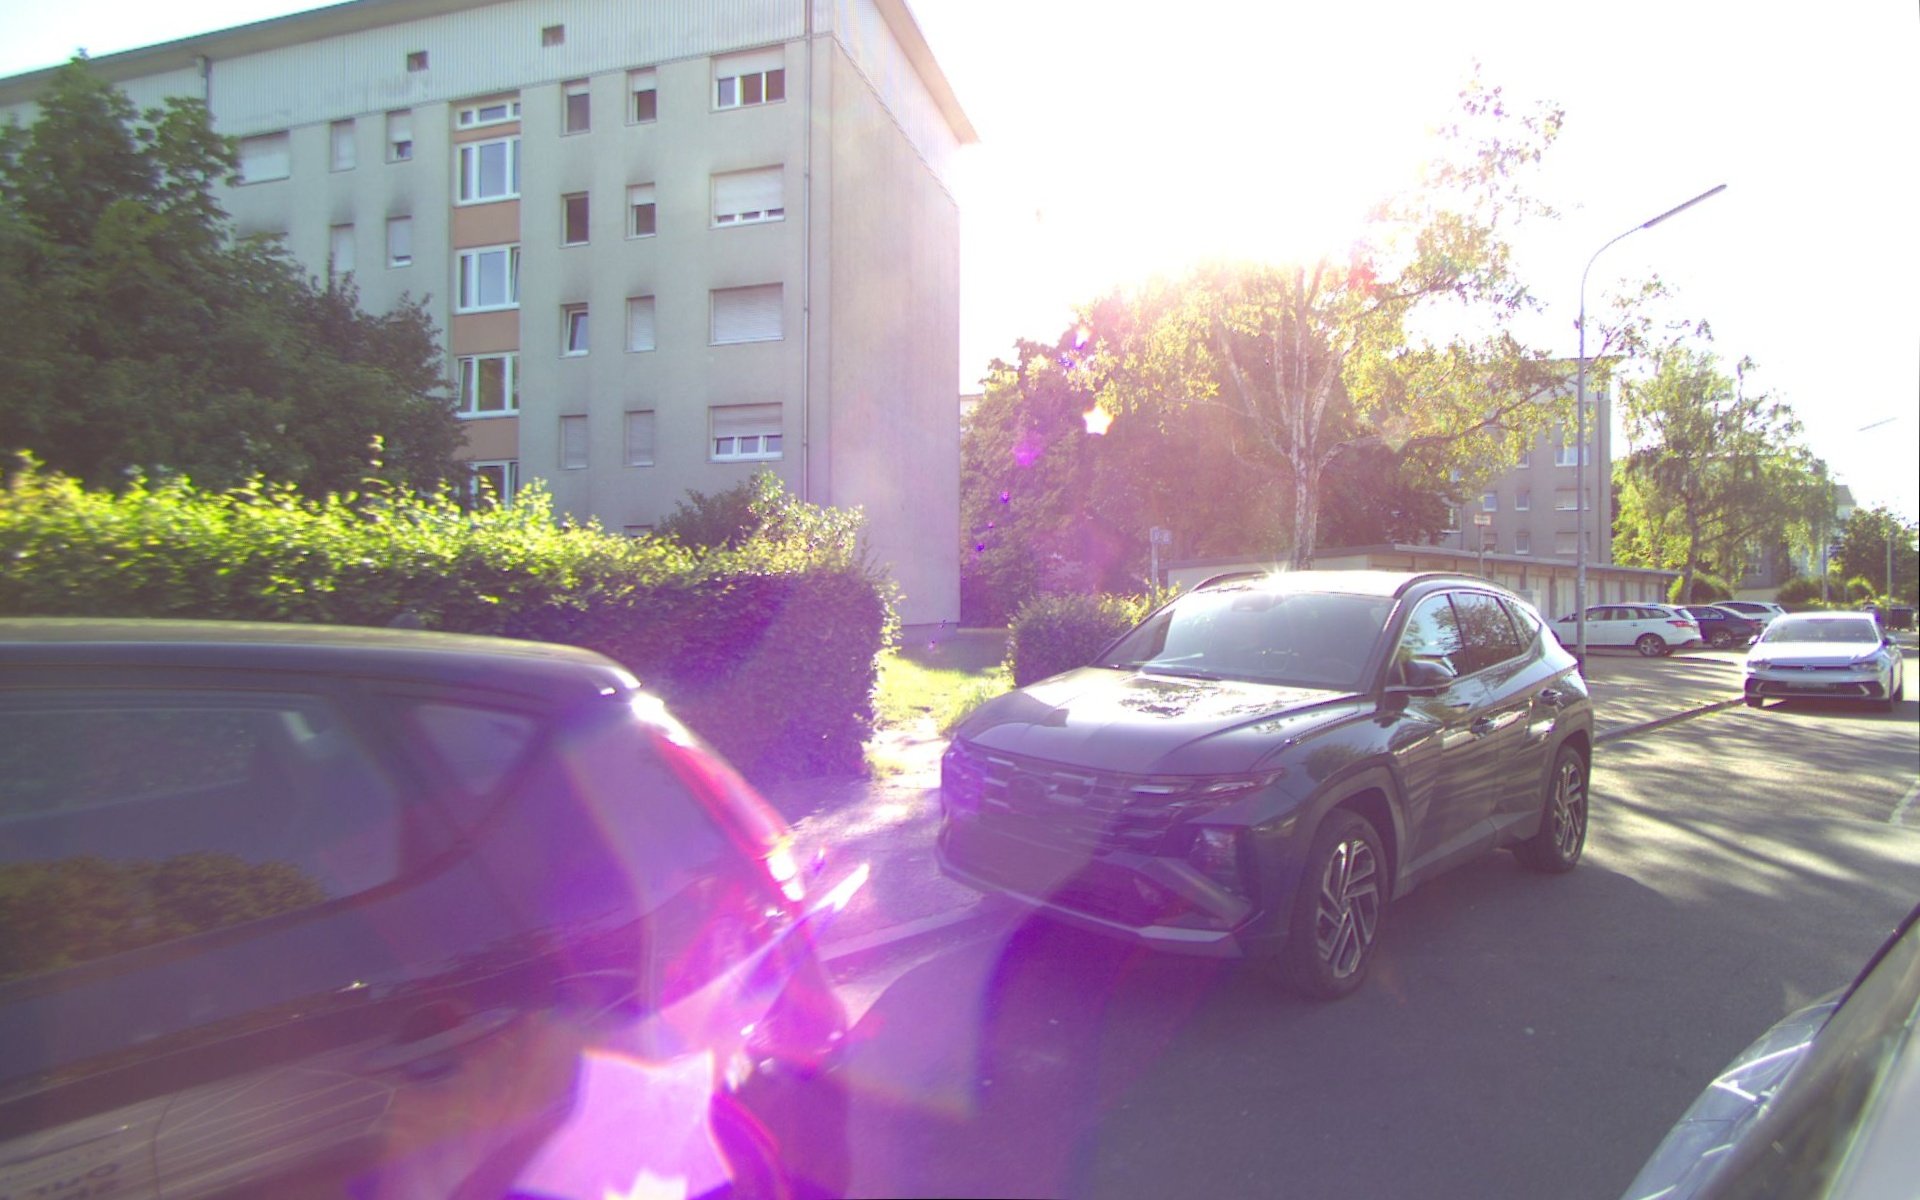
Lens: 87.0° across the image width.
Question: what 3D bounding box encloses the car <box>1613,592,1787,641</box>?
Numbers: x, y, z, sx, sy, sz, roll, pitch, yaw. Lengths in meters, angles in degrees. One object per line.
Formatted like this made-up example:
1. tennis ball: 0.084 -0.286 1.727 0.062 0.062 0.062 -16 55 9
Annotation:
1. car: 25.246 0.523 34.661 1.796 1.532 4.522 0 1 -40

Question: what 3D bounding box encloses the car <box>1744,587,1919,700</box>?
1. car: 13.687 0.620 15.795 4.037 1.533 1.753 0 -2 -45

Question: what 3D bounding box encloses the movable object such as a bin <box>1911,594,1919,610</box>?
1. movable object such as a bin: 86.380 0.194 90.909 1.323 1.449 1.014 -1 -1 42

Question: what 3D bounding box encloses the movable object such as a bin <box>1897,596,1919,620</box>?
1. movable object such as a bin: 54.432 0.443 57.788 1.359 1.326 1.031 0 2 -32

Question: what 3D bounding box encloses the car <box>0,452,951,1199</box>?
1. car: -2.225 0.633 1.282 4.254 1.550 1.910 0 -1 -42

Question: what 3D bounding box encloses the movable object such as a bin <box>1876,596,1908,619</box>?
1. movable object such as a bin: 55.159 0.436 59.894 1.112 1.382 1.226 0 0 -38

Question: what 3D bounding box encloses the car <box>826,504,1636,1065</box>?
1. car: 1.733 0.549 5.258 4.549 1.660 1.910 0 -1 -42

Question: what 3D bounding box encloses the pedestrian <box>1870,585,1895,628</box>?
1. pedestrian: 41.991 0.300 46.042 0.857 1.912 0.704 0 1 -41

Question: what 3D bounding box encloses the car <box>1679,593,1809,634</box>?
1. car: 31.456 0.501 40.693 1.799 1.532 3.945 0 1 -44

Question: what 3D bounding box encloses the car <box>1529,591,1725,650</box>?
1. car: 19.198 0.538 29.292 1.797 1.532 4.422 0 1 -41
